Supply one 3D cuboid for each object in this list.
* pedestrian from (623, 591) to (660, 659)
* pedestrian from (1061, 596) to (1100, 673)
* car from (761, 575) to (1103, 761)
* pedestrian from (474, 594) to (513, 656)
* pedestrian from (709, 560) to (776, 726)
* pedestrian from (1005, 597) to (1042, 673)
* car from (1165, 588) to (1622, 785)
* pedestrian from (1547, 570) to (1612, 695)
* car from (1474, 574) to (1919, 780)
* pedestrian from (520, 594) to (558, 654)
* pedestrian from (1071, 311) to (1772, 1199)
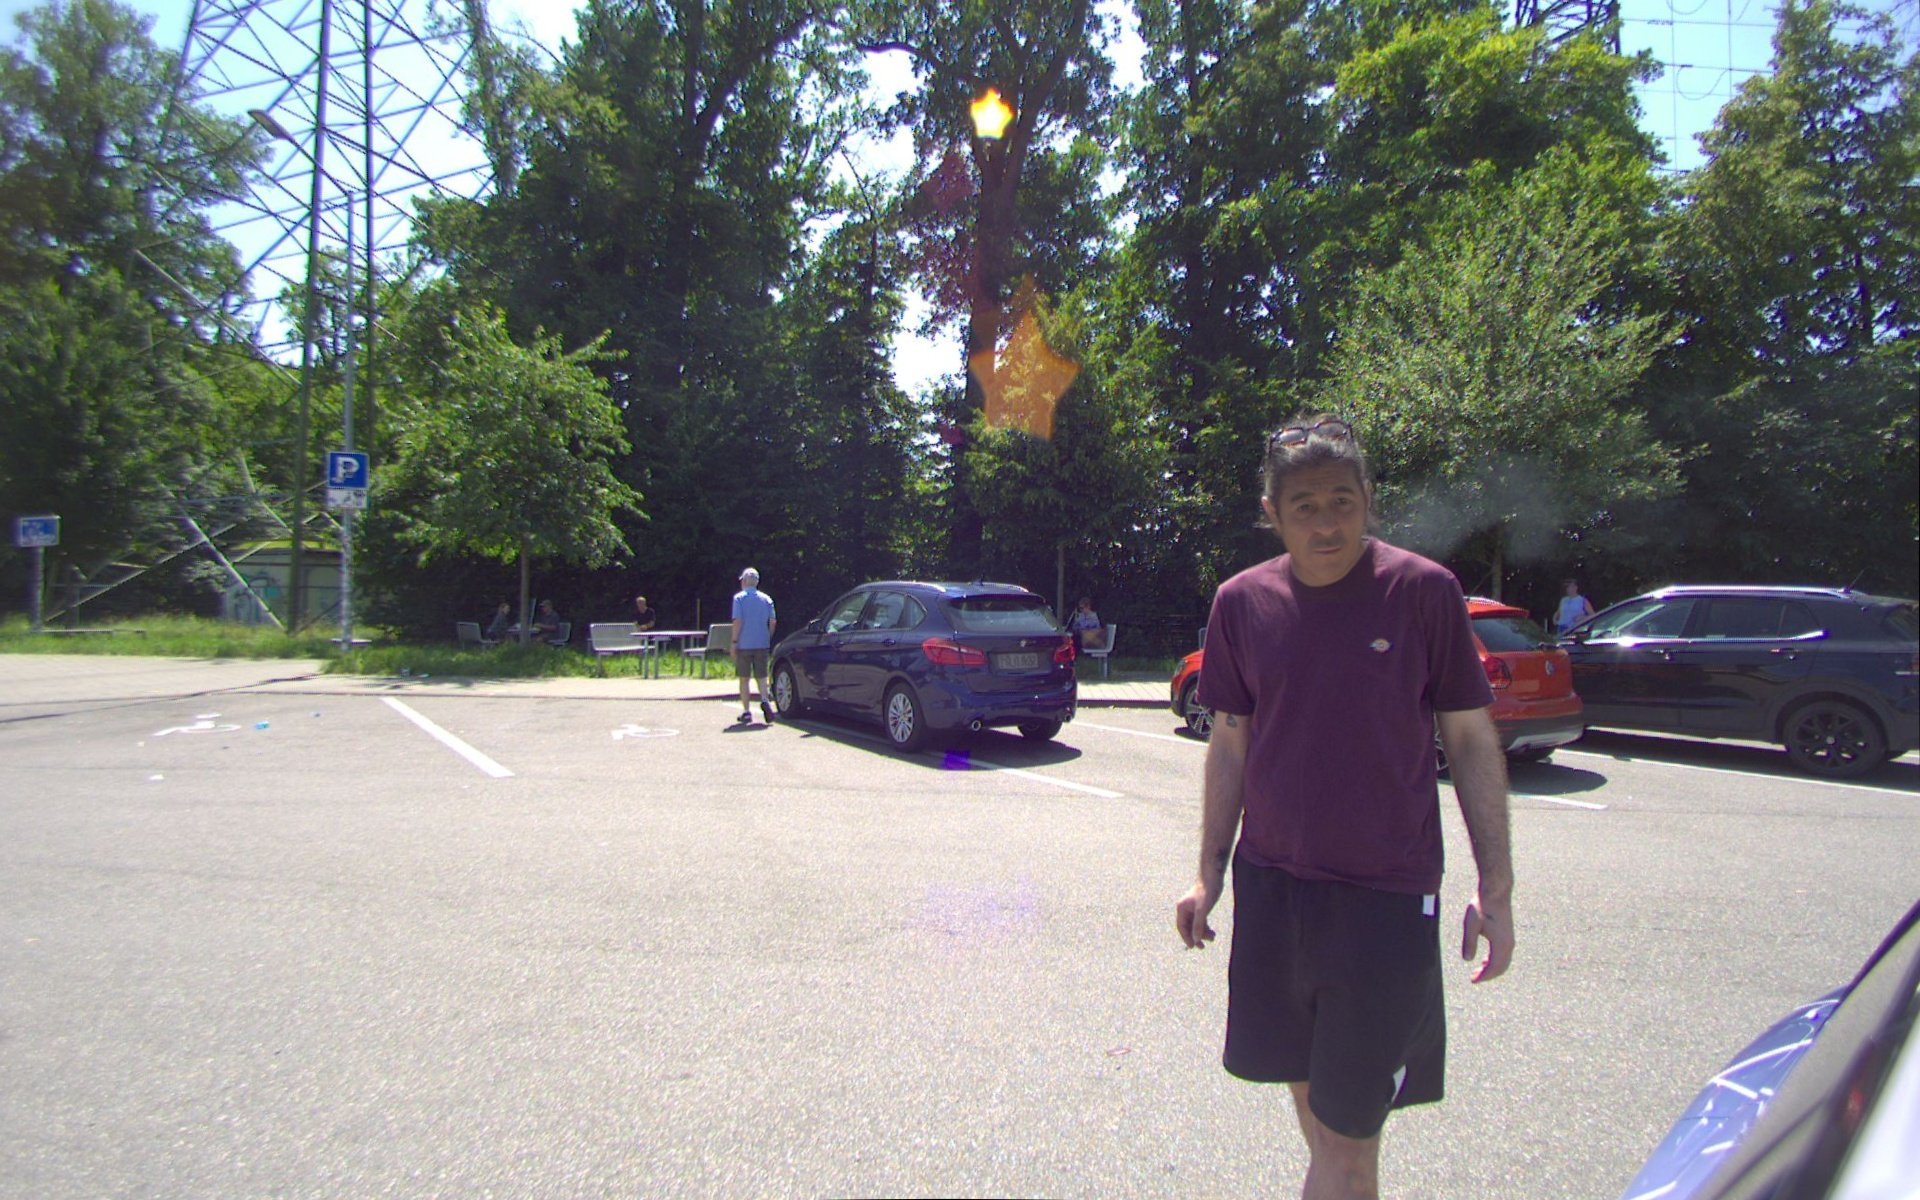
[{"bbox_3d":[-6.694,0.514,21.303,0.553,1.408,0.700,0,0,2],"label":"pedestrian"},{"bbox_3d":[2.011,0.573,17.003,0.576,1.251,0.697,0,-1,1],"label":"pedestrian"},{"bbox_3d":[-0.488,0.550,10.653,1.776,1.562,3.940,1,0,-34],"label":"car"},{"bbox_3d":[-10.524,0.549,22.826,0.687,1.352,0.563,0,0,-40],"label":"pedestrian"},{"bbox_3d":[-2.413,0.455,11.186,0.661,1.754,0.835,0,0,-16],"label":"pedestrian"},{"bbox_3d":[1.063,0.578,17.069,0.576,1.251,0.697,0,-1,1],"label":"pedestrian"},{"bbox_3d":[3.850,0.637,9.581,1.559,1.467,3.737,1,0,-33],"label":"car"},{"bbox_3d":[9.390,0.481,15.355,0.757,1.854,0.517,0,0,23],"label":"pedestrian"},{"bbox_3d":[7.215,0.587,9.697,1.707,1.607,3.732,1,0,-39],"label":"car"},{"bbox_3d":[-9.766,0.538,23.464,0.687,1.352,0.563,0,0,-40],"label":"pedestrian"},{"bbox_3d":[0.809,0.542,1.909,0.847,1.857,0.862,0,0,-28],"label":"pedestrian"}]
